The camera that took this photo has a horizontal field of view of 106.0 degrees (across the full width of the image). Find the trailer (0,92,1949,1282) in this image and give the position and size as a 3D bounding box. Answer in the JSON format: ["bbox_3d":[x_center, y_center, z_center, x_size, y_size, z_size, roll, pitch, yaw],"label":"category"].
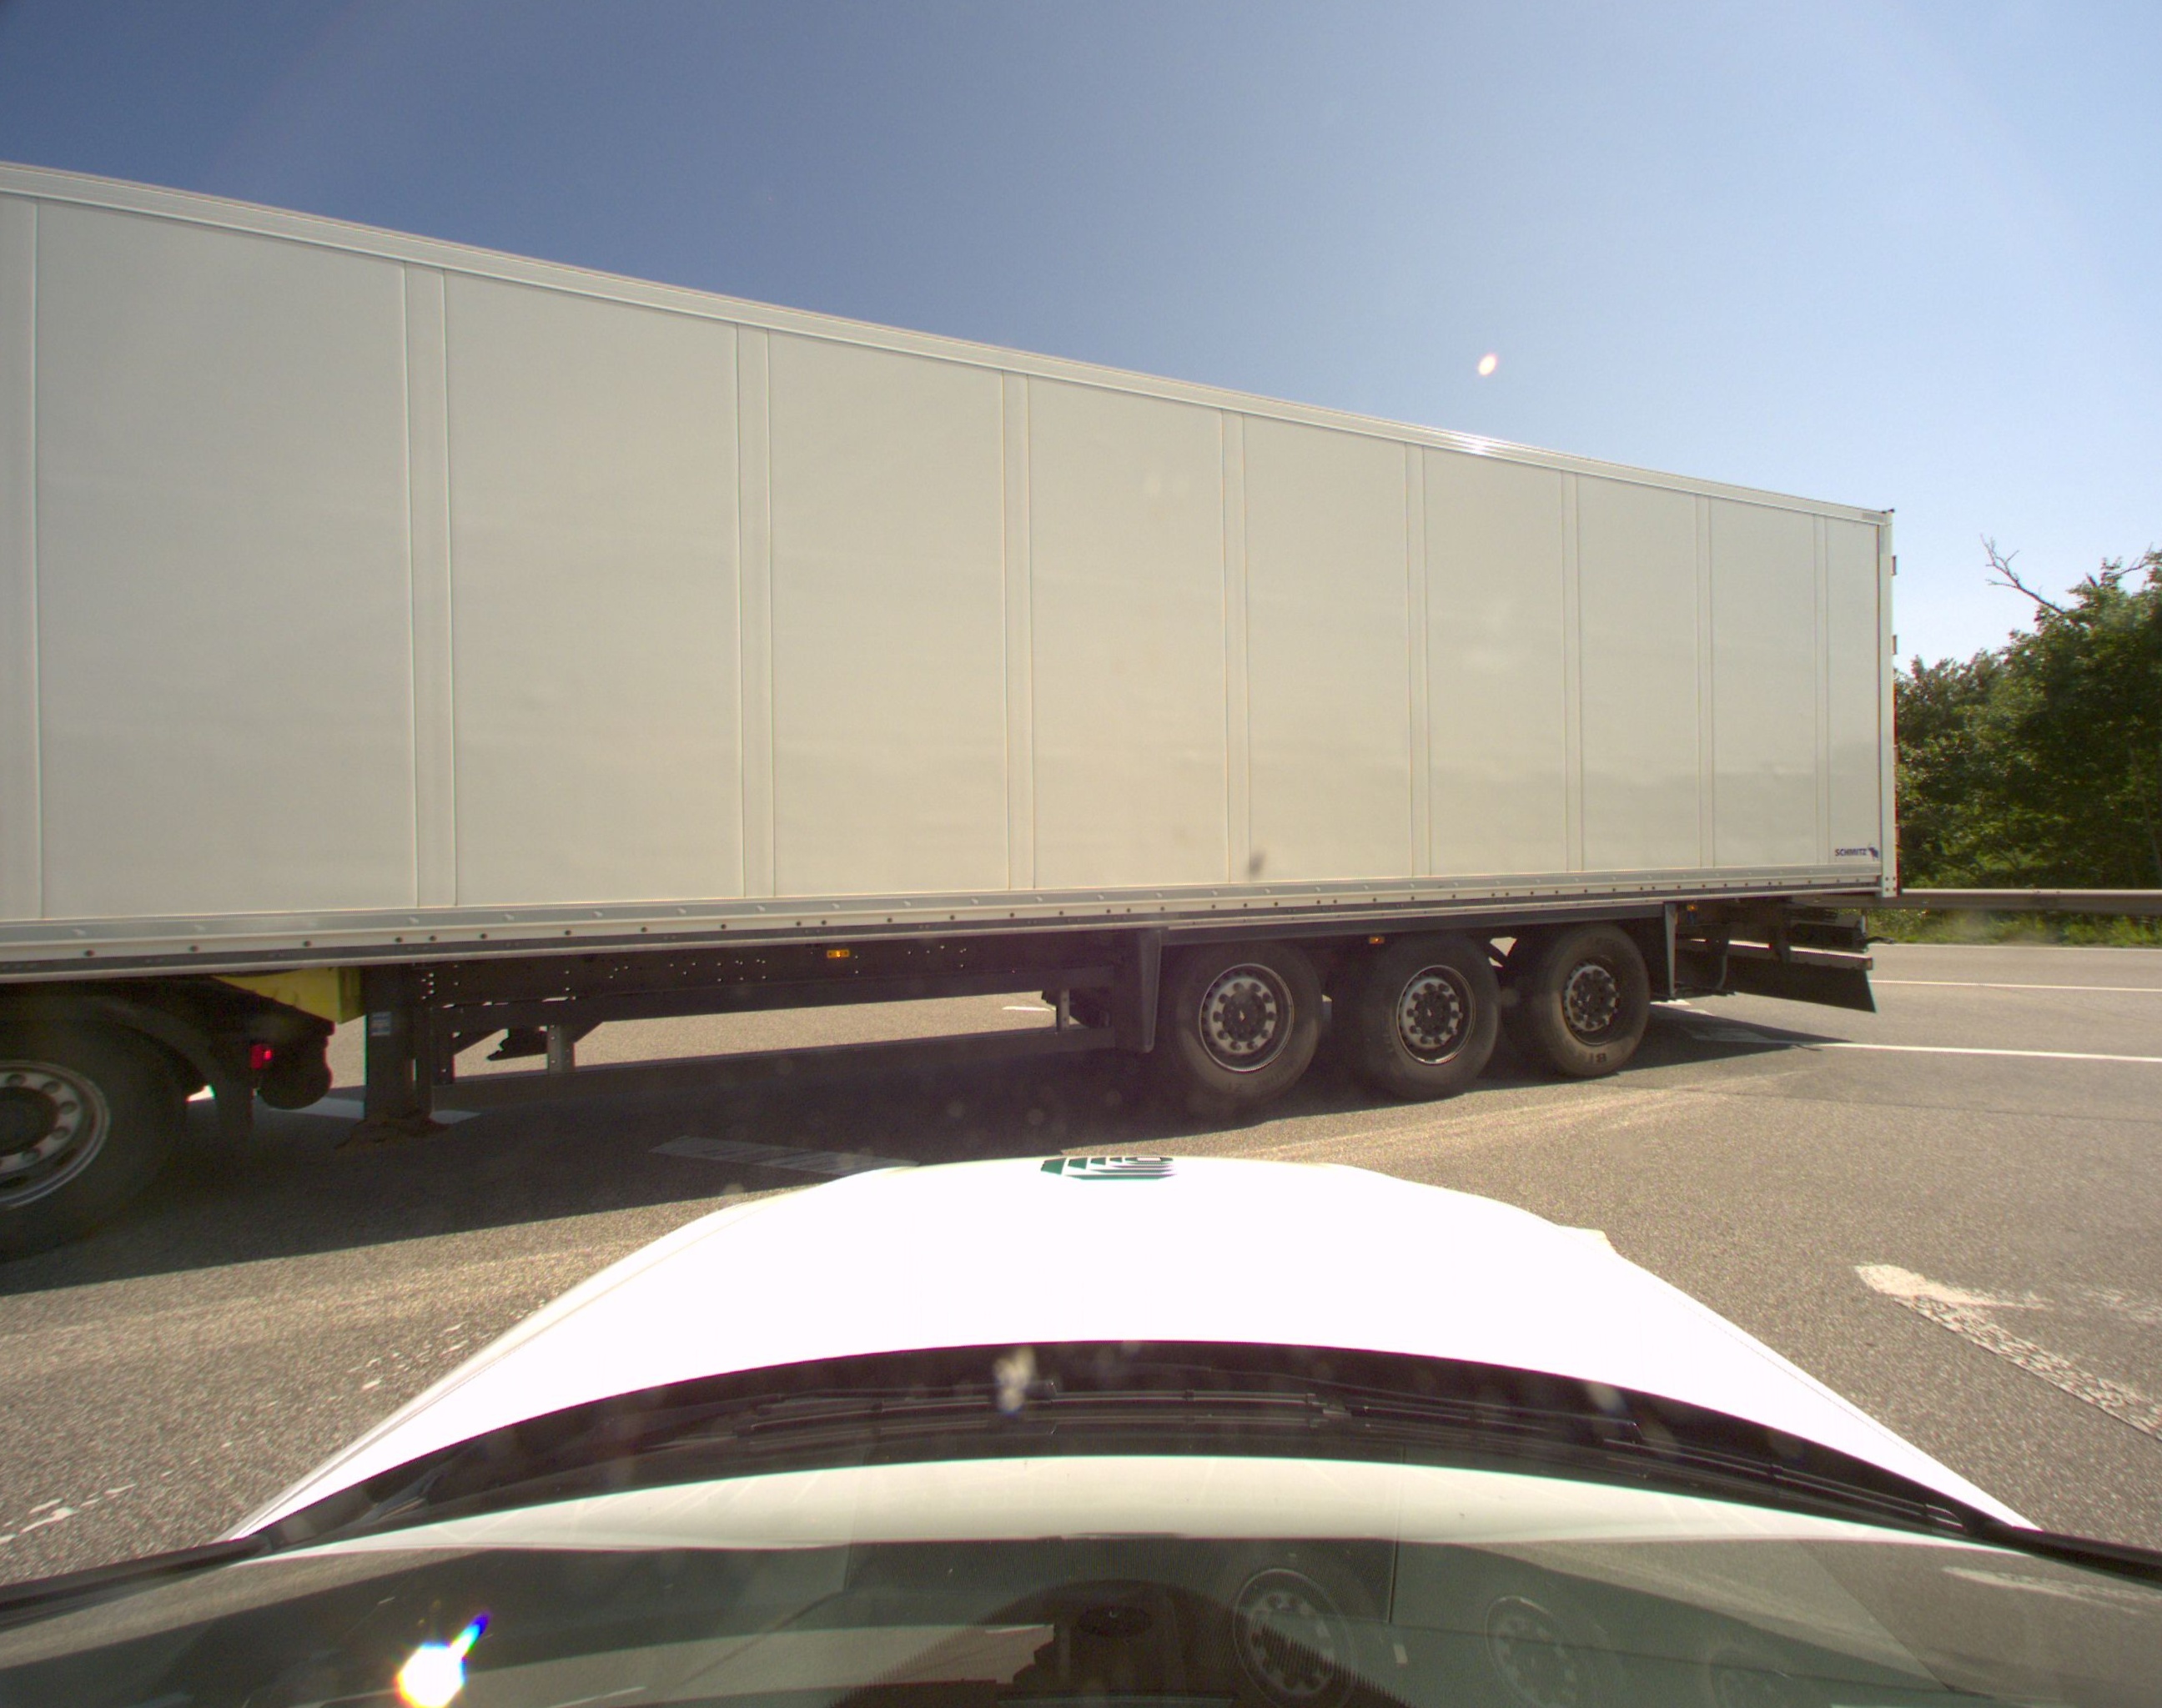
[{"bbox_3d":[-0.603,-0.664,5.364,13.970,4.165,2.880,-1,0,-18],"label":"trailer"}]

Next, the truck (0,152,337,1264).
[{"bbox_3d":[-6.514,-0.518,2.544,2.844,4.173,6.006,-1,0,44],"label":"truck"}]
